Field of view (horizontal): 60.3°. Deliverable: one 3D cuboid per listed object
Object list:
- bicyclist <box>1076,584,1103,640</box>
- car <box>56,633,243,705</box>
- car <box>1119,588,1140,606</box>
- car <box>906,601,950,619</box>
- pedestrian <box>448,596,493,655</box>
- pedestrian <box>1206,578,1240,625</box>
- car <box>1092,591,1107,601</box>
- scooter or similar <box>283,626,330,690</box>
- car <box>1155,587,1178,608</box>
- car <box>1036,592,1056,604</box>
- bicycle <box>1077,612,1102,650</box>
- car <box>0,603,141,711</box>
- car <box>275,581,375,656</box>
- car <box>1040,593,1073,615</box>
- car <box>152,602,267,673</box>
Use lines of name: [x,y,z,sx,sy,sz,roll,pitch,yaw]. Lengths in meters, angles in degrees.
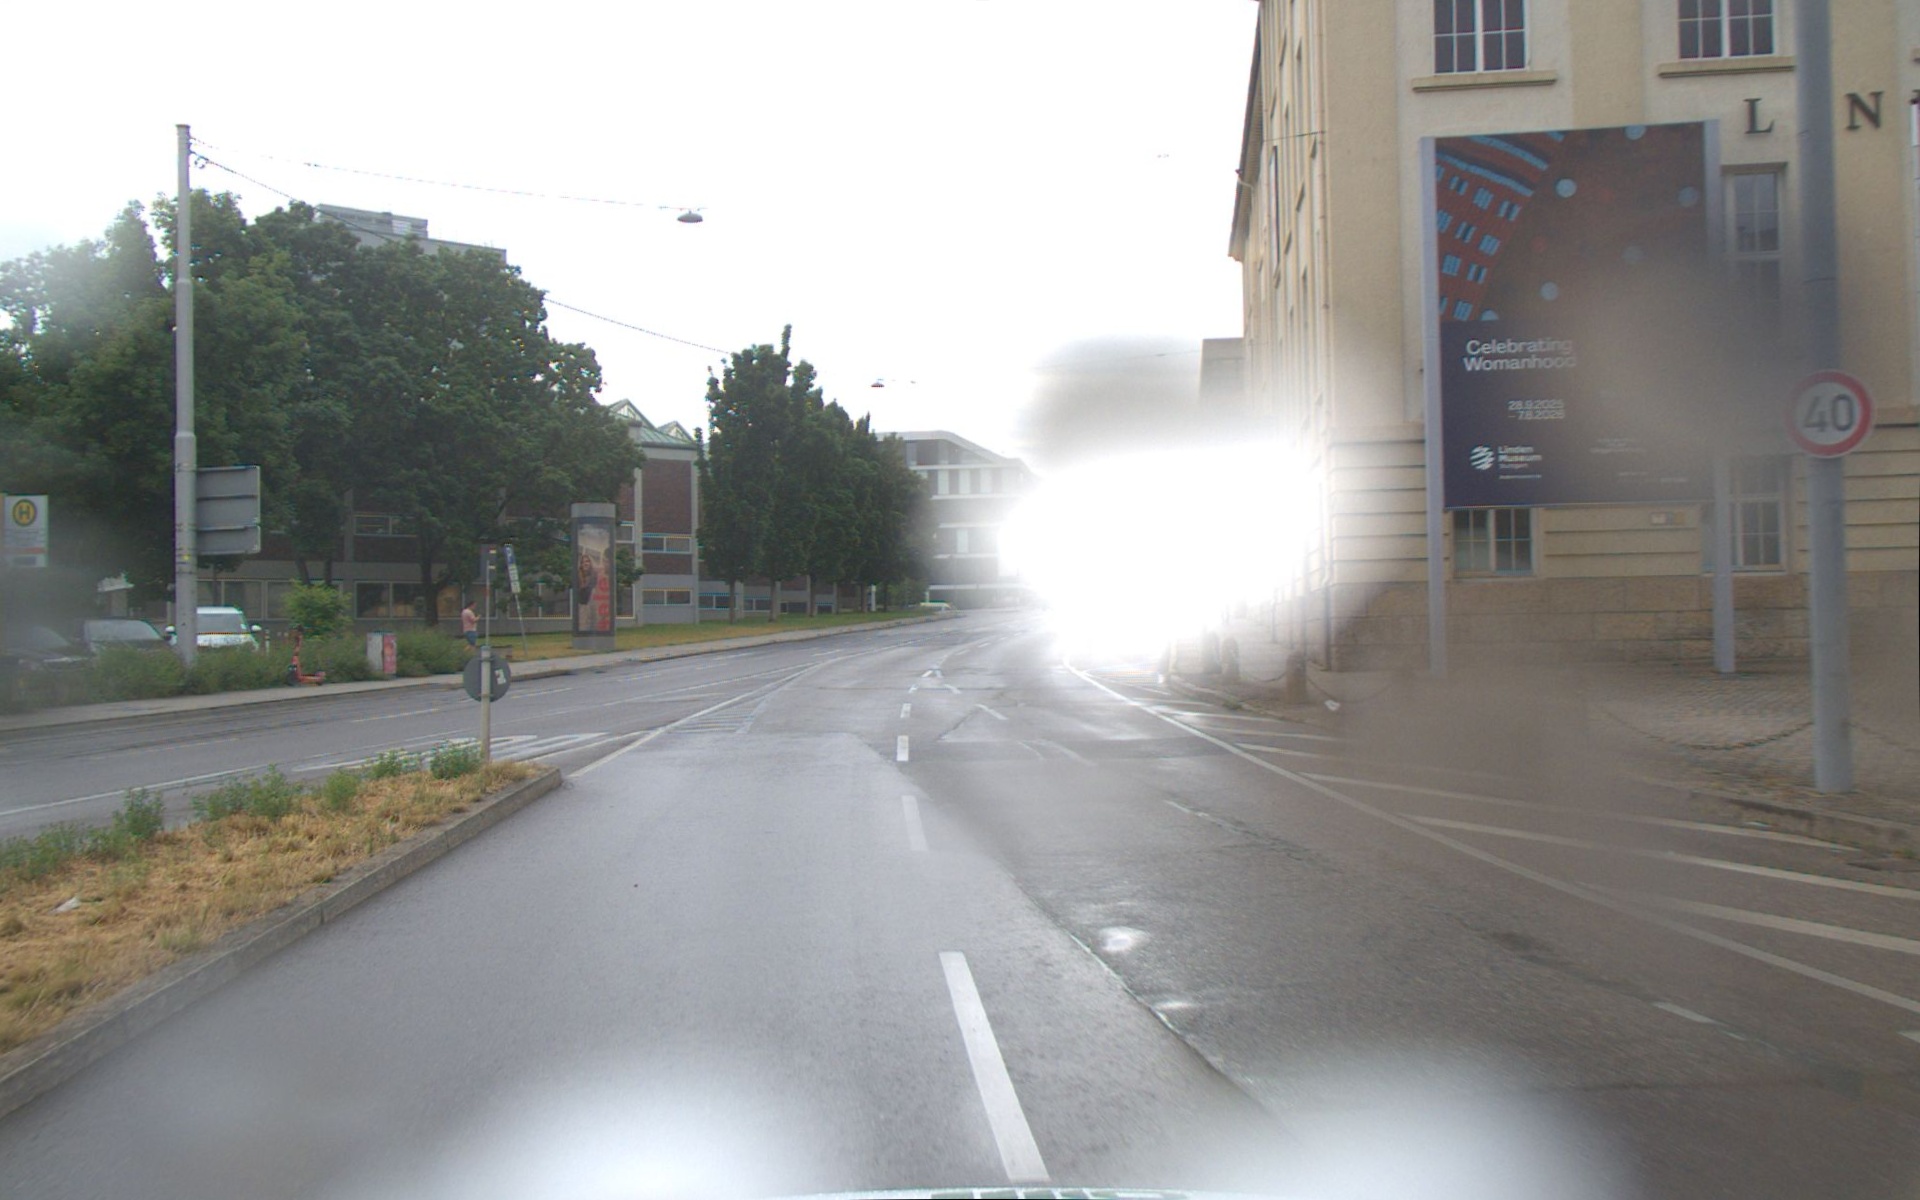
bicyclist: [3.876,0.353,49.282,0.685,1.661,1.129,0,0,10]
car: [-16.139,1.341,32.923,3.425,1.241,1.829,1,0,32]
car: [16.156,-0.309,157.818,1.799,1.587,4.004,0,2,8]
car: [-3.905,1.206,201.778,5.116,2.049,2.002,0,0,7]
pedestrian: [-13.490,0.704,45.590,0.788,1.598,0.957,0,0,17]
pedestrian: [10.637,0.068,66.906,1.213,1.819,1.596,-3,0,10]
car: [20.221,-0.577,239.883,1.799,1.377,3.419,0,2,11]
scooter or similar: [-13.623,1.196,34.495,0.448,1.288,0.978,0,0,12]
car: [17.112,-0.221,136.774,1.799,1.587,4.004,0,2,8]
car: [9.669,-0.276,186.826,1.799,1.256,3.419,0,2,11]
bicycle: [3.875,0.913,49.302,0.632,1.075,1.823,-1,0,8]
car: [-16.910,0.975,30.121,3.915,1.799,1.829,0,0,32]
car: [-16.011,0.486,41.869,1.816,1.773,4.060,-1,-1,-14]
car: [8.272,0.331,141.715,1.861,1.653,3.633,-1,2,-14]
car: [-16.742,0.781,36.799,1.830,1.467,4.030,-1,0,-32]
